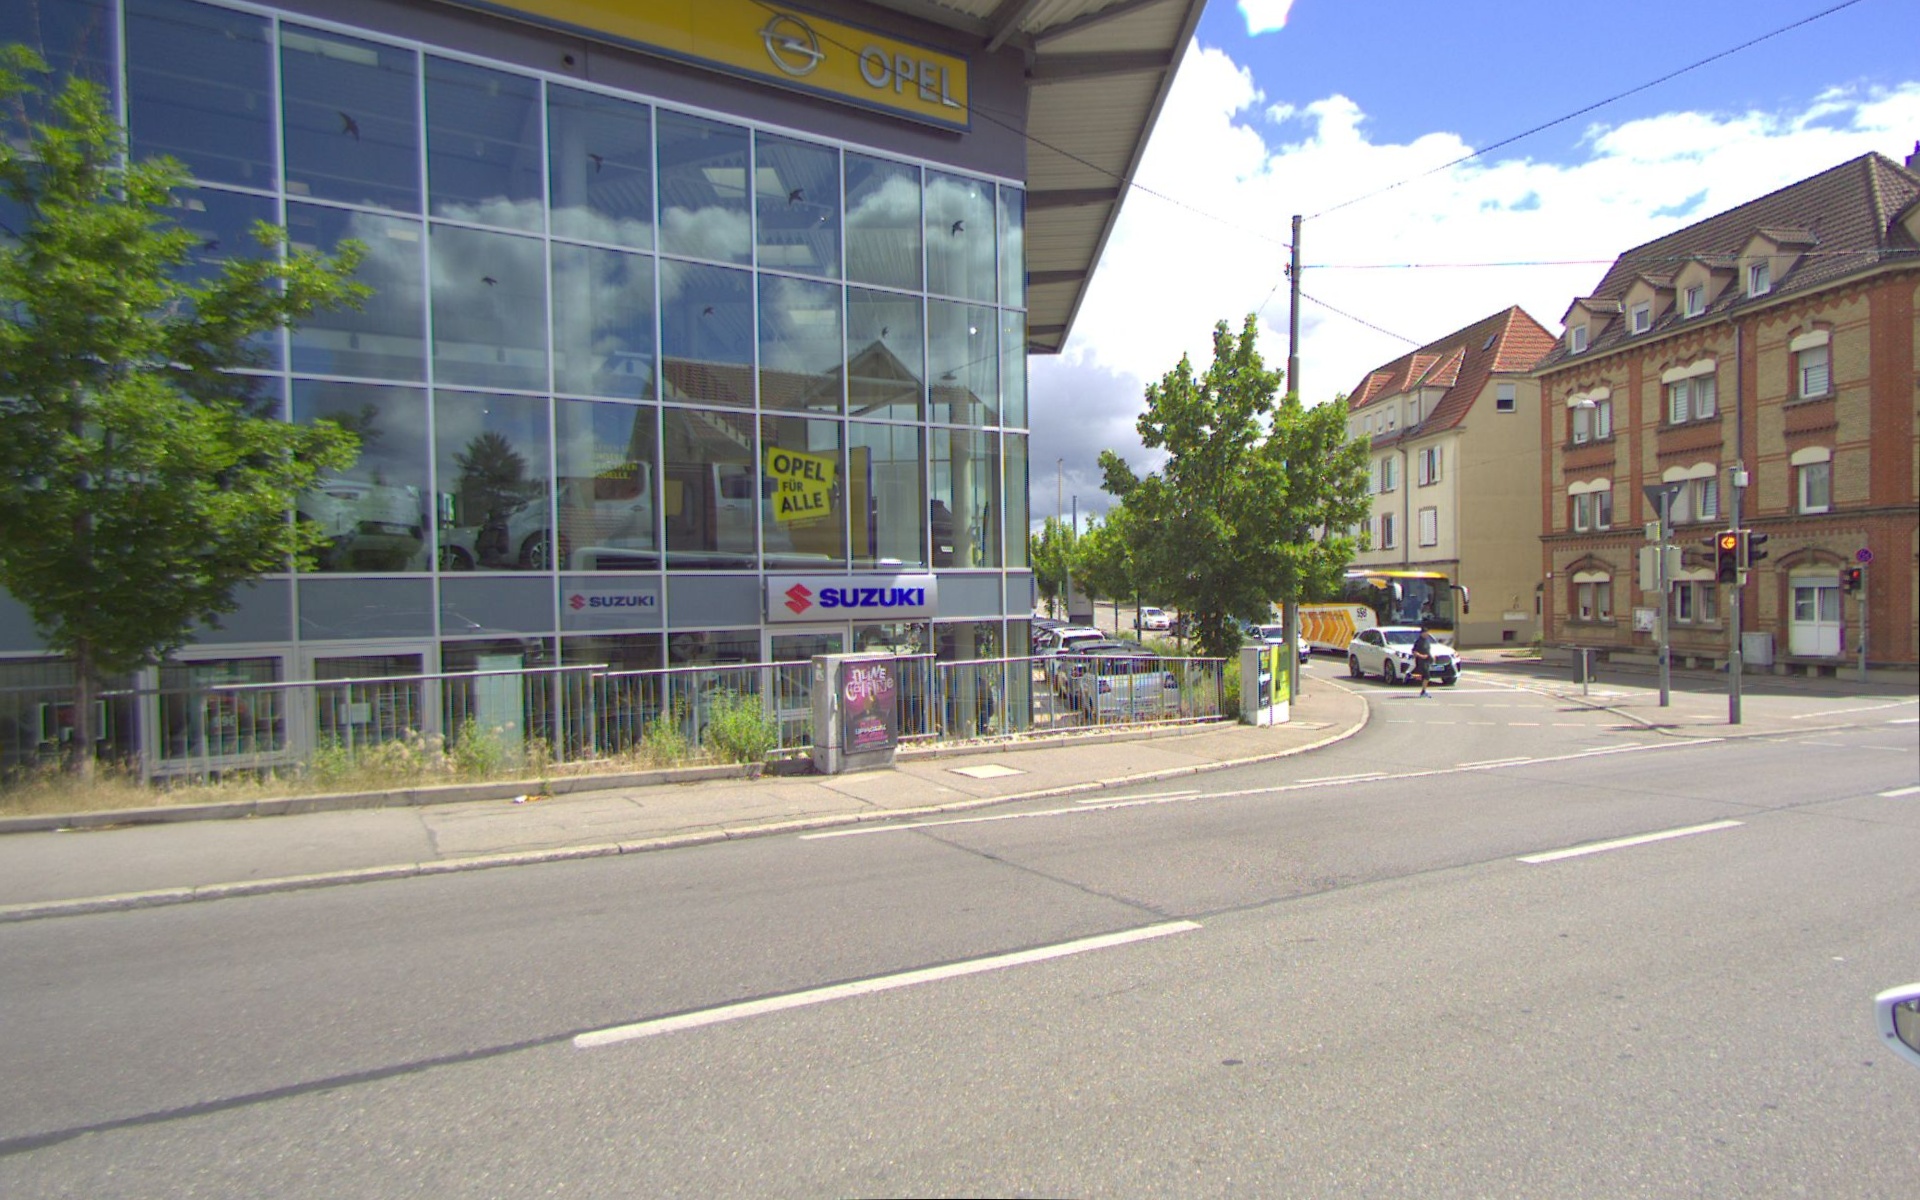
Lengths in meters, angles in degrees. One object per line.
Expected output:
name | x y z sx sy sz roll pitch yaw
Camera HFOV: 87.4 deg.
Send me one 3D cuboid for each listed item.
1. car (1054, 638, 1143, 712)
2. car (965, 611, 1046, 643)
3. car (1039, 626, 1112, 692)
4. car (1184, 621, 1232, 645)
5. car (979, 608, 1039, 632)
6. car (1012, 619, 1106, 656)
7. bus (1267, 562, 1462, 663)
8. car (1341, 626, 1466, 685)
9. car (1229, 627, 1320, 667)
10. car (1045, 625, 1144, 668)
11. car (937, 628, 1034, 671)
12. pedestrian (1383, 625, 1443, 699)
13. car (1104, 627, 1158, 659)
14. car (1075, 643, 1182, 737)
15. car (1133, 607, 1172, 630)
car | 3.318 1.765 24.582 1.584 1.547 3.499 -1 0 -2
car | 2.362 1.419 52.790 3.930 1.574 1.804 1 -1 -12
car | 3.305 1.662 29.316 1.620 1.703 3.499 -1 0 -2
car | 15.595 2.063 63.328 1.874 1.428 3.999 1 -1 -2
car | 3.282 1.337 67.521 3.922 1.574 1.807 1 -1 -1
car | 4.413 1.675 45.067 3.925 1.574 1.806 1 -1 -7
bus | 16.779 0.546 43.138 2.718 3.669 12.258 1 -1 -4
car | 12.817 1.613 29.345 1.797 1.572 4.308 1 -3 1
car | 12.159 1.793 39.067 1.852 1.437 3.612 1 -1 -13
car | 4.961 1.718 37.351 3.430 1.497 1.800 1 -1 1
car | 0.894 1.788 36.815 3.432 1.467 1.799 -1 0 -3
pedestrian | 11.192 1.507 24.831 0.751 1.757 1.133 1 -1 -34
car | 8.267 2.066 48.726 1.766 1.467 3.498 1 -1 -5
car | 3.323 1.744 20.361 1.648 1.582 3.365 -1 0 1
car | 13.647 1.315 71.517 1.874 1.574 3.999 1 -1 -2
